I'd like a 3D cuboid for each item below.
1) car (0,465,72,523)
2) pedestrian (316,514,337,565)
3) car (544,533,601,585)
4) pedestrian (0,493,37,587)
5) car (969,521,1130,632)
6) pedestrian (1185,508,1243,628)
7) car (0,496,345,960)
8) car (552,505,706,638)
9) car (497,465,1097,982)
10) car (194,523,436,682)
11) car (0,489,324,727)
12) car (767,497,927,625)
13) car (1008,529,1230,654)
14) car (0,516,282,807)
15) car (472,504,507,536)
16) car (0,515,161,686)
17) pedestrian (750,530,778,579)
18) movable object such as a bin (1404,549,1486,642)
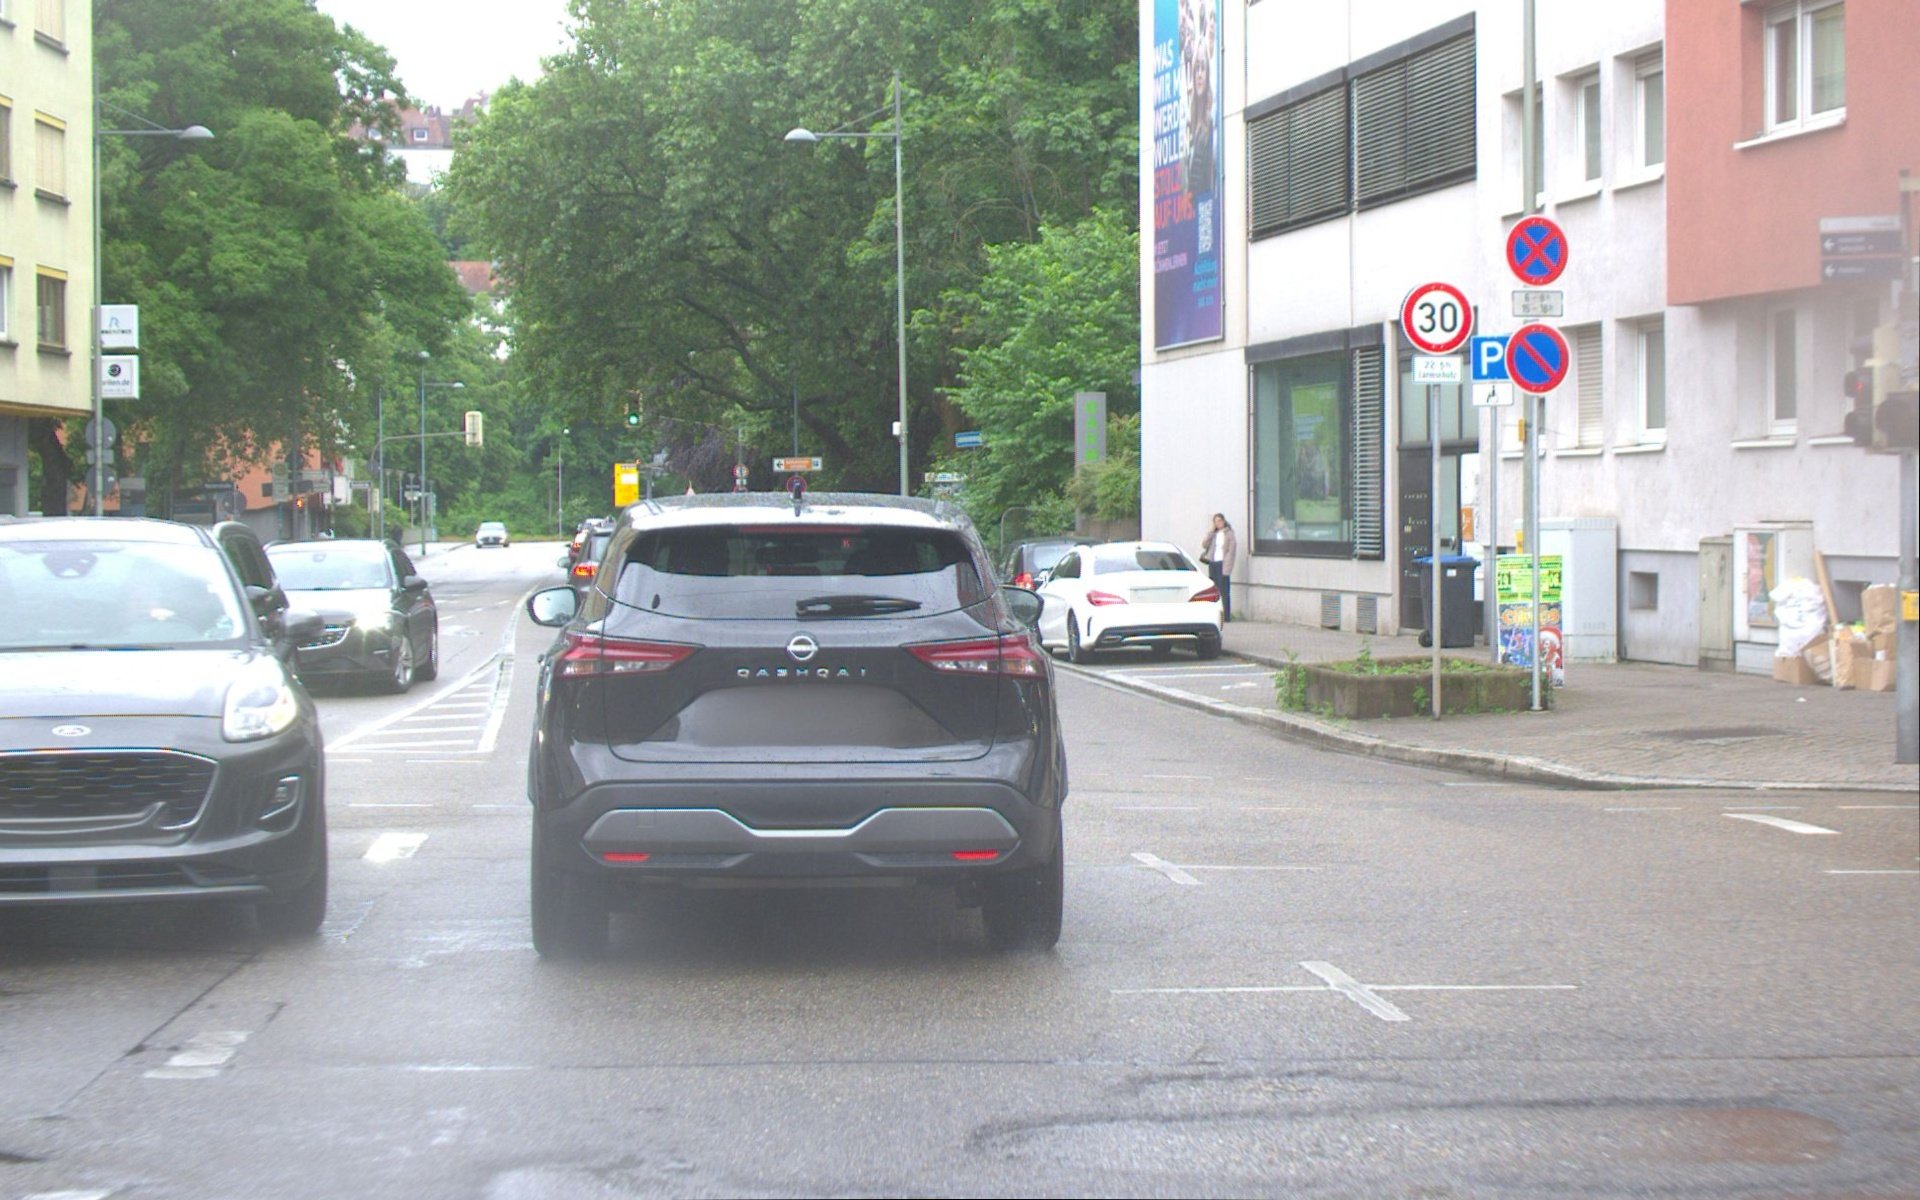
[{"bbox_3d":[-29.602,-3.297,106.479,3.832,1.728,1.880,1,1,-8],"label":"car"},{"bbox_3d":[-22.621,-2.170,122.769,0.666,1.785,0.722,1,1,-13],"label":"pedestrian"},{"bbox_3d":[-12.943,-1.385,114.813,1.820,1.606,3.866,2,1,-6],"label":"car"},{"bbox_3d":[-17.026,-1.075,61.669,0.798,1.682,0.817,0,1,-7],"label":"pedestrian"},{"bbox_3d":[1.224,-0.362,48.584,1.714,1.437,4.083,-2,1,-6],"label":"car"},{"bbox_3d":[3.739,-0.477,50.698,0.612,1.731,0.681,-2,1,-14],"label":"pedestrian"},{"bbox_3d":[-3.506,0.368,13.583,1.855,1.547,4.228,-1,2,-14],"label":"car"},{"bbox_3d":[-4.520,-0.387,46.963,1.945,1.679,4.001,-2,1,-6],"label":"car"},{"bbox_3d":[-0.707,0.329,12.902,1.894,1.623,4.001,0,2,-6],"label":"car"},{"bbox_3d":[-6.218,0.018,33.560,1.820,1.428,4.399,-1,0,-4],"label":"car"},{"bbox_3d":[-5.981,0.050,25.678,1.820,1.603,4.431,-1,0,-3],"label":"car"},{"bbox_3d":[-1.770,-0.581,52.516,1.945,1.810,4.001,-2,1,-8],"label":"car"},{"bbox_3d":[1.879,-0.144,42.111,1.774,1.396,4.581,-2,1,-9],"label":"car"},{"bbox_3d":[-5.143,0.328,20.169,1.934,1.521,4.136,-1,0,-6],"label":"car"},{"bbox_3d":[-27.302,-4.647,199.502,1.820,1.790,3.866,2,1,-5],"label":"car"},{"bbox_3d":[-9.499,0.008,35.130,1.820,1.634,4.374,-1,0,-3],"label":"car"},{"bbox_3d":[-7.269,-1.702,127.386,0.721,1.785,0.667,3,1,42],"label":"pedestrian"},{"bbox_3d":[5.683,-0.062,40.328,0.712,1.064,0.784,-1,1,-13],"label":"movable object such as a bin"}]
